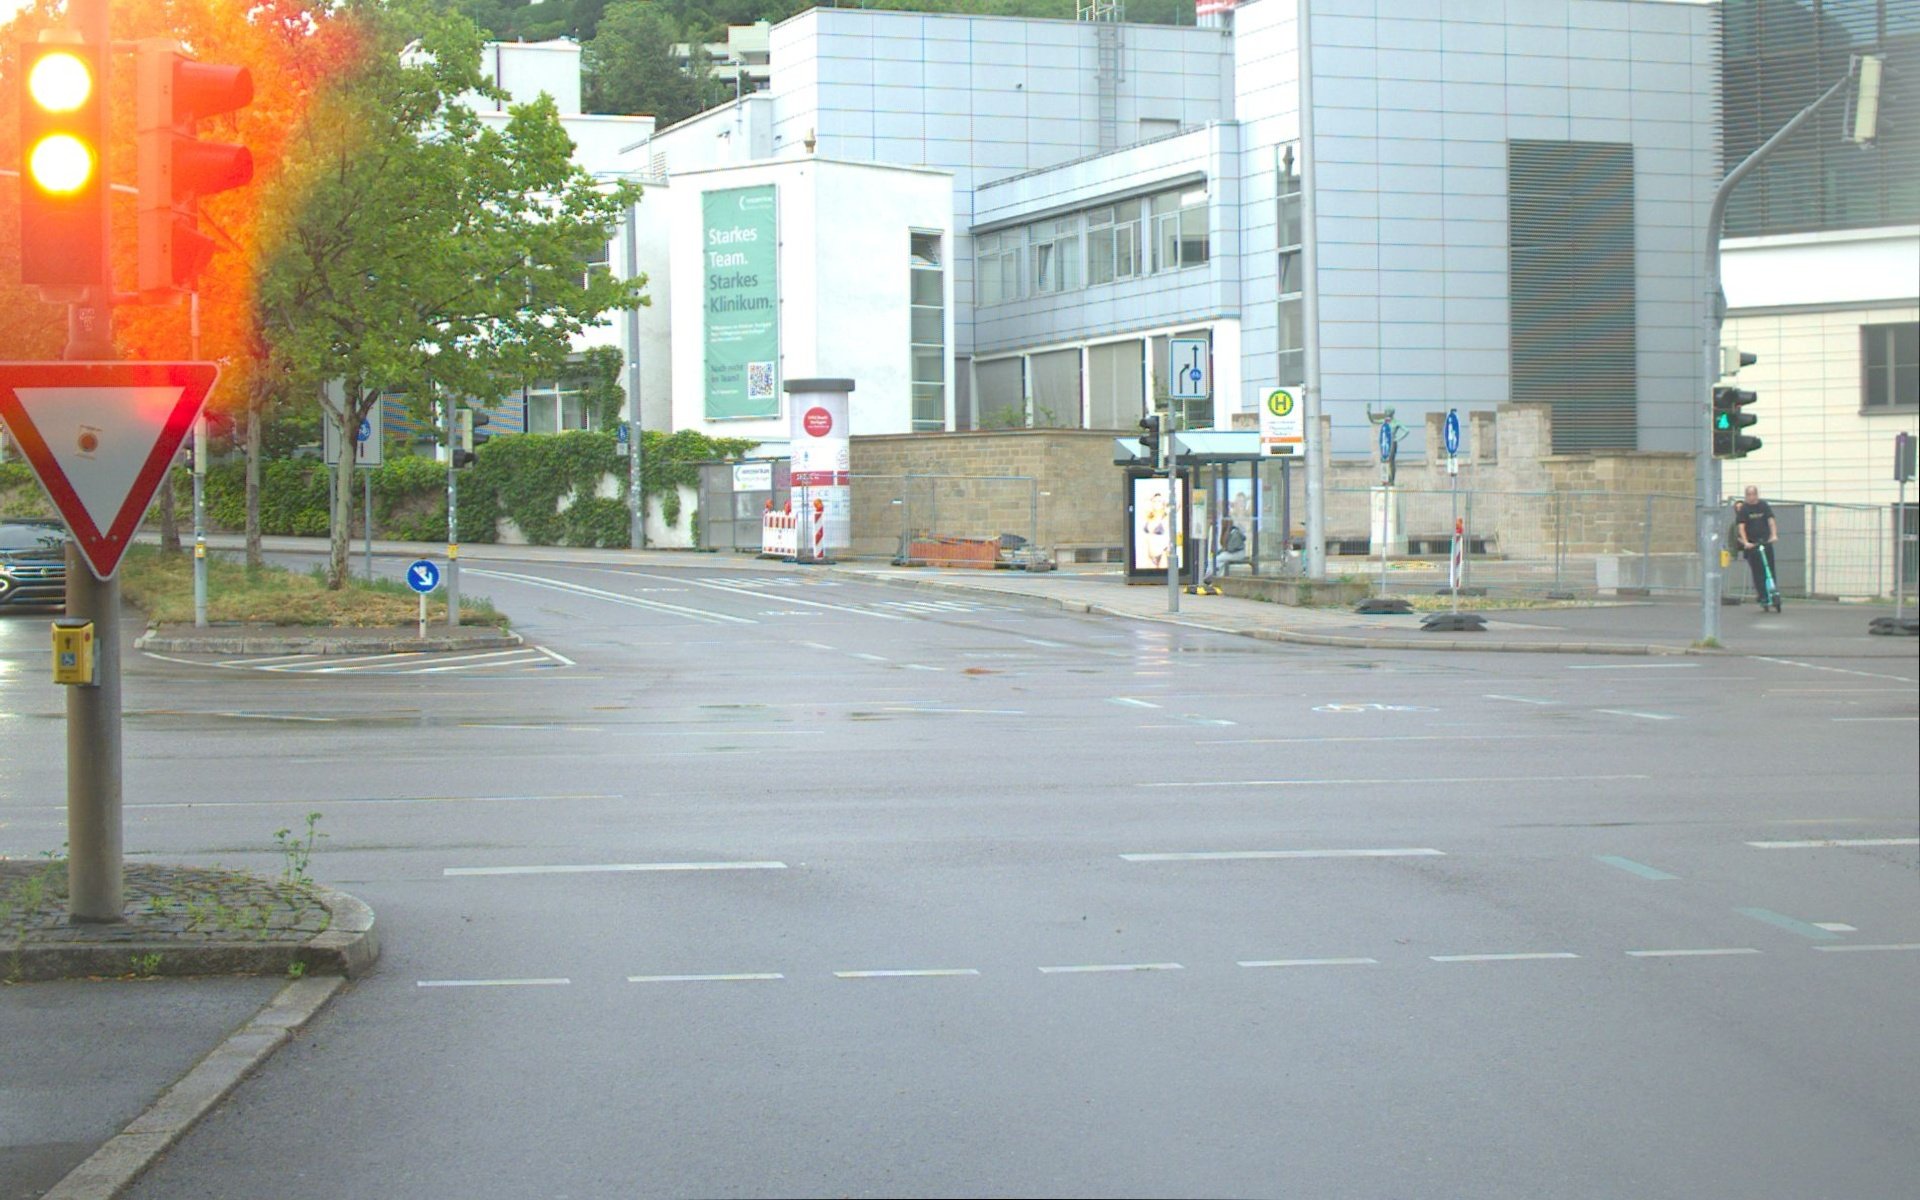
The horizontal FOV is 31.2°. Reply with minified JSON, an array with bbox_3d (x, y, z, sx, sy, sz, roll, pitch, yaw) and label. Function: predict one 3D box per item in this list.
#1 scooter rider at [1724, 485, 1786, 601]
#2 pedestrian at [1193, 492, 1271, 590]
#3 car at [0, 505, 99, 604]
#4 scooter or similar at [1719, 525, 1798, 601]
[{"bbox_3d":[13.038,-0.928,56.374,0.723,1.877,0.632,1,0,-20],"label":"scooter rider"},{"bbox_3d":[4.876,-1.051,61.769,1.257,1.713,1.016,1,0,-2],"label":"pedestrian"},{"bbox_3d":[-15.667,-0.788,57.709,1.788,1.579,4.001,-1,2,-22],"label":"car"},{"bbox_3d":[13.092,-0.604,56.367,0.591,1.234,1.314,1,0,-22],"label":"scooter or similar"}]
